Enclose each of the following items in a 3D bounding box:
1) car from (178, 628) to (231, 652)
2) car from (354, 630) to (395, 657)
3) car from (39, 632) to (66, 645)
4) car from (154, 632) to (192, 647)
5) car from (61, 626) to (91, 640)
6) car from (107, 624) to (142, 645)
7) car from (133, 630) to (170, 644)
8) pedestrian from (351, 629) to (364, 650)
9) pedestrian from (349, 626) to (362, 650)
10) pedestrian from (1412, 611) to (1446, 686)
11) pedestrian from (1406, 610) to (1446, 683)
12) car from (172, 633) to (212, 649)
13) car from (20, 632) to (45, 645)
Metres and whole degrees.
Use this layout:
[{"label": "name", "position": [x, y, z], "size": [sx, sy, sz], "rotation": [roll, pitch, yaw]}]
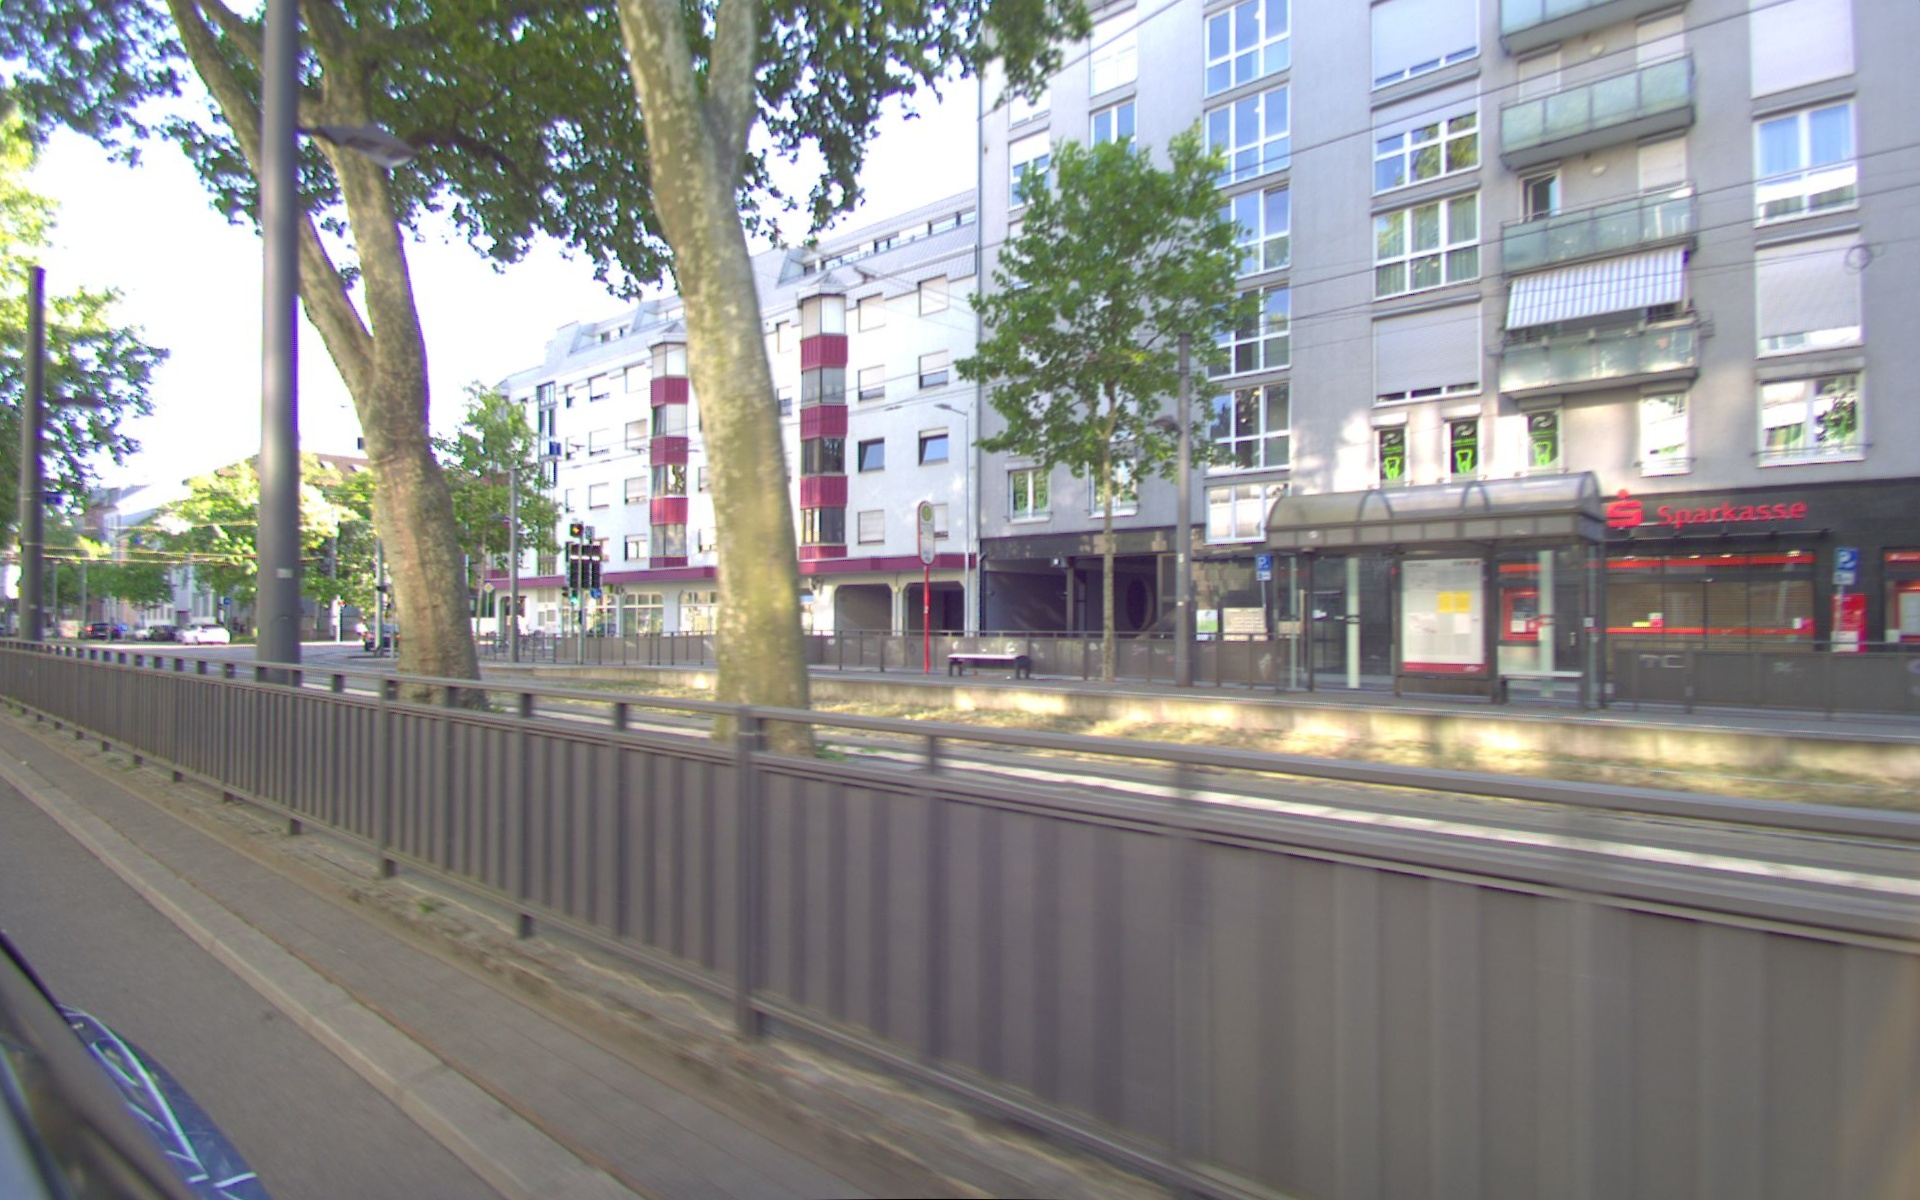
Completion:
[{"label": "car", "position": [-49.885, 2.625, 66.798], "size": [3.997, 1.475, 1.973], "rotation": [-1, -2, 41]}, {"label": "car", "position": [-30.467, 2.233, 52.608], "size": [1.623, 1.364, 3.911], "rotation": [1, -2, -33]}, {"label": "car", "position": [-108.726, 4.602, 121.232], "size": [3.998, 1.573, 1.871], "rotation": [-1, -2, 41]}, {"label": "car", "position": [-68.198, 3.415, 87.658], "size": [3.998, 1.276, 1.871], "rotation": [-1, -2, 41]}, {"label": "car", "position": [-95.012, 3.557, 108.711], "size": [3.998, 1.490, 1.871], "rotation": [-1, -2, 41]}, {"label": "car", "position": [-78.658, 3.263, 95.264], "size": [3.911, 1.851, 1.838], "rotation": [-1, 0, 40]}, {"label": "car", "position": [-73.086, 3.317, 91.484], "size": [3.998, 1.276, 1.871], "rotation": [-1, -2, 41]}, {"label": "pedestrian", "position": [-44.112, 2.899, 74.087], "size": [0.582, 1.518, 0.649], "rotation": [0, -1, -9]}, {"label": "pedestrian", "position": [-44.179, 2.803, 73.949], "size": [0.594, 1.717, 0.670], "rotation": [-1, 0, -10]}, {"label": "pedestrian", "position": [11.396, 1.155, 24.605], "size": [0.628, 1.784, 0.497], "rotation": [-1, 0, 41]}, {"label": "pedestrian", "position": [11.626, 1.150, 25.269], "size": [0.784, 1.784, 0.497], "rotation": [-1, 0, 41]}, {"label": "car", "position": [-63.280, 3.364, 83.359], "size": [3.998, 1.276, 1.871], "rotation": [-1, -2, 41]}, {"label": "car", "position": [-117.675, 4.872, 128.358], "size": [3.998, 1.573, 1.871], "rotation": [-1, -2, 41]}]
